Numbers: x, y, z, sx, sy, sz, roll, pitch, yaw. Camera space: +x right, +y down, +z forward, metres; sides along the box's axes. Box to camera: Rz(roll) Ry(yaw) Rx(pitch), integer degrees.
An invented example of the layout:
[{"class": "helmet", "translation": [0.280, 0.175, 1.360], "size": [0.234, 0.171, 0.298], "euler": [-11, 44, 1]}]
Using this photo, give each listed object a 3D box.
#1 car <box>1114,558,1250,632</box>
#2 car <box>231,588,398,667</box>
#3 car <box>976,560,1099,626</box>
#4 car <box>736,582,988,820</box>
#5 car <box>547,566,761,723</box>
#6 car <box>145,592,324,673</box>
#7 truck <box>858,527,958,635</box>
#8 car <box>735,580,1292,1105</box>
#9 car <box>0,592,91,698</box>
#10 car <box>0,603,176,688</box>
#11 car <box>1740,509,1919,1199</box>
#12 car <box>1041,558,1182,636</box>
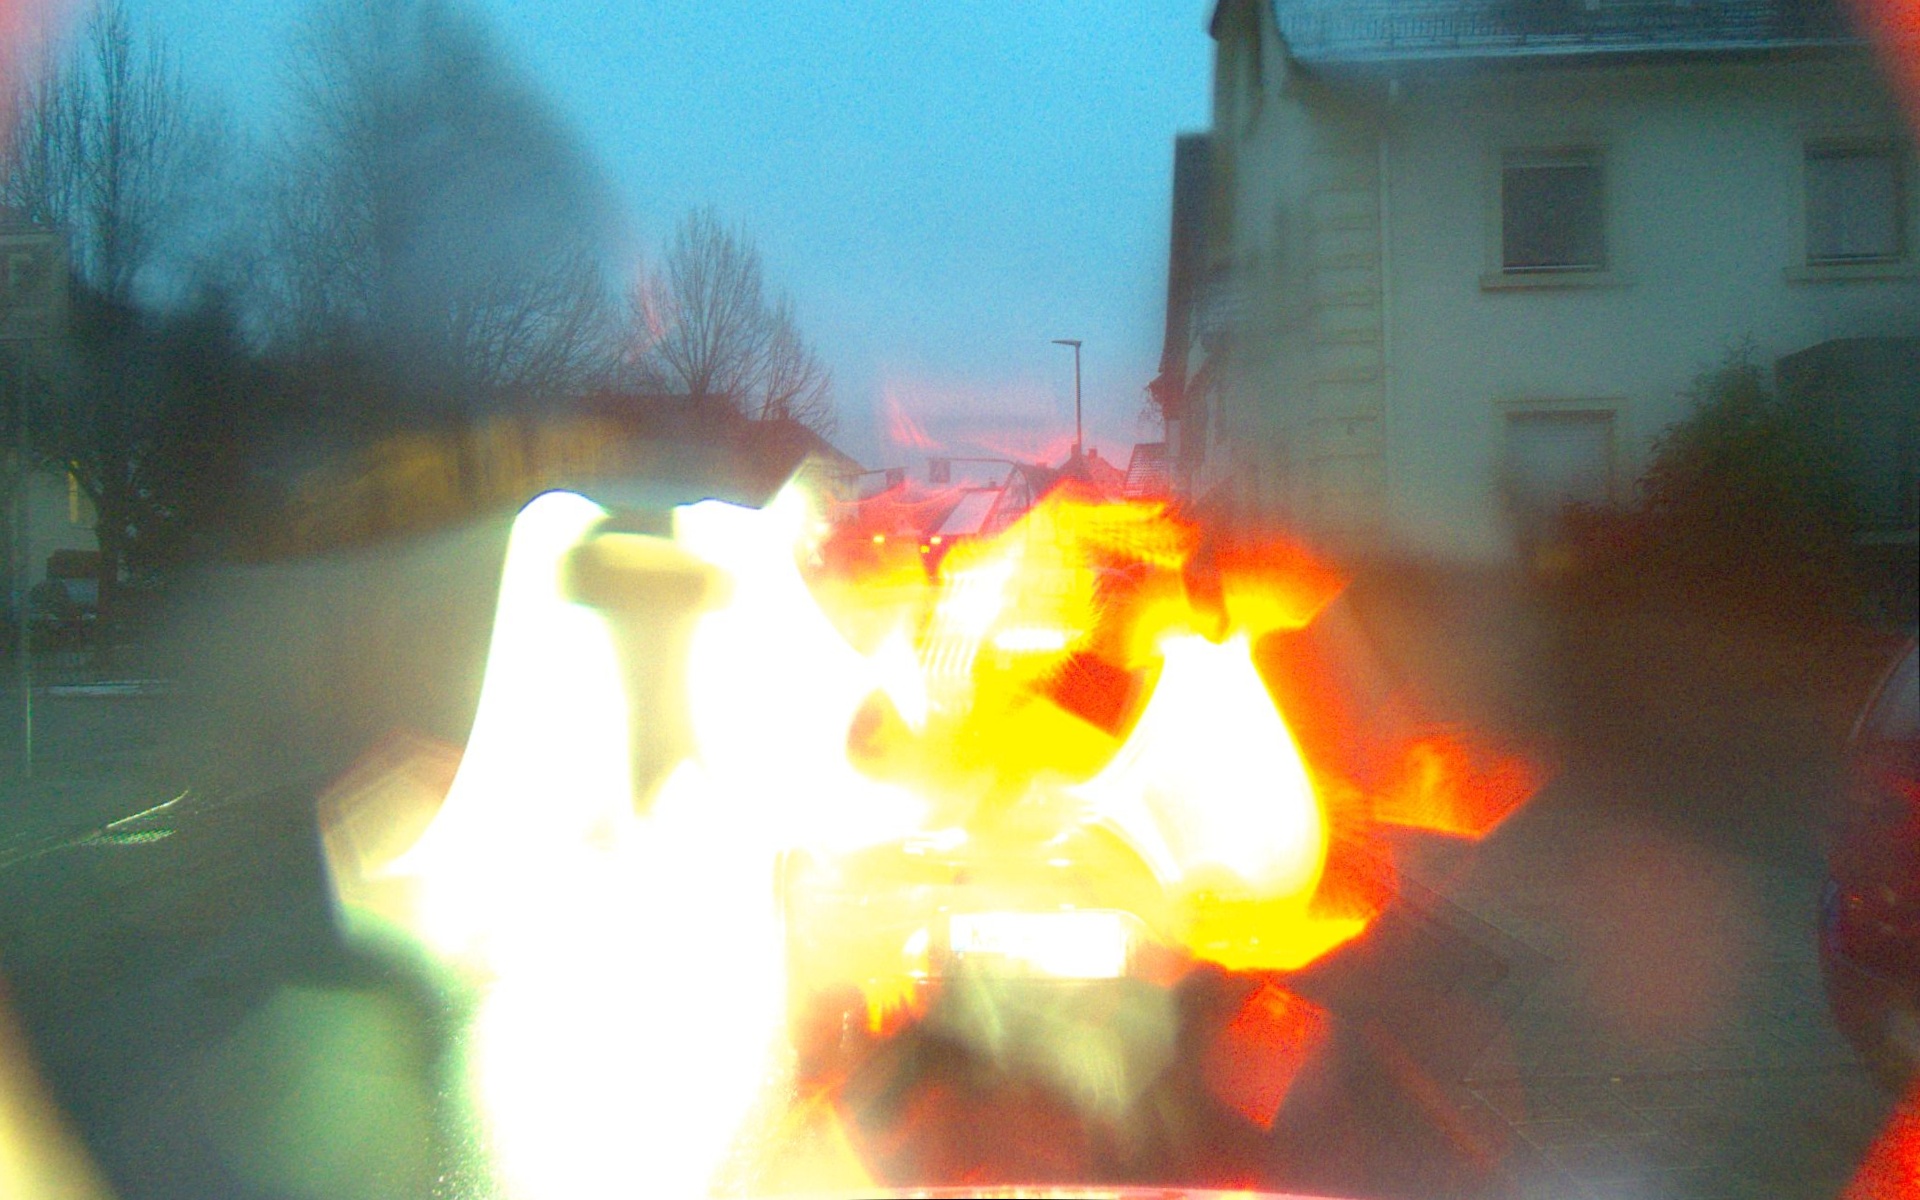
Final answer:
[{"class": "car", "translation": [6.747, -0.156, 50.442], "size": [4.010, 2.189, 1.915], "euler": [0, 0, 6]}, {"class": "car", "translation": [-17.305, 0.713, 44.364], "size": [3.903, 2.033, 1.820], "euler": [0, 1, 19]}, {"class": "car", "translation": [2.654, -0.237, 55.842], "size": [4.010, 2.189, 1.915], "euler": [0, 0, 6]}, {"class": "car", "translation": [-0.690, 0.624, 12.181], "size": [1.605, 1.507, 3.270], "euler": [0, 1, -2]}, {"class": "car", "translation": [-3.466, 0.440, 19.516], "size": [1.774, 1.624, 4.398], "euler": [-1, 1, -1]}, {"class": "car", "translation": [-18.187, 0.798, 41.477], "size": [3.903, 1.944, 1.820], "euler": [0, 1, 19]}, {"class": "truck", "translation": [-1.773, -0.602, 53.061], "size": [2.955, 3.183, 7.995], "euler": [0, 0, -3]}, {"class": "car", "translation": [0.135, 0.692, 6.458], "size": [1.604, 1.507, 3.378], "euler": [0, 0, -1]}, {"class": "car", "translation": [-19.814, 0.876, 33.394], "size": [3.903, 2.023, 1.820], "euler": [0, 1, 19]}, {"class": "car", "translation": [-19.404, 0.967, 36.197], "size": [3.903, 1.760, 1.820], "euler": [0, 1, 19]}, {"class": "car", "translation": [4.041, 0.552, 3.738], "size": [3.795, 1.607, 1.680], "euler": [-1, 0, -6]}, {"class": "car", "translation": [4.419, -0.098, 48.129], "size": [4.010, 2.200, 1.915], "euler": [0, 0, 6]}]
